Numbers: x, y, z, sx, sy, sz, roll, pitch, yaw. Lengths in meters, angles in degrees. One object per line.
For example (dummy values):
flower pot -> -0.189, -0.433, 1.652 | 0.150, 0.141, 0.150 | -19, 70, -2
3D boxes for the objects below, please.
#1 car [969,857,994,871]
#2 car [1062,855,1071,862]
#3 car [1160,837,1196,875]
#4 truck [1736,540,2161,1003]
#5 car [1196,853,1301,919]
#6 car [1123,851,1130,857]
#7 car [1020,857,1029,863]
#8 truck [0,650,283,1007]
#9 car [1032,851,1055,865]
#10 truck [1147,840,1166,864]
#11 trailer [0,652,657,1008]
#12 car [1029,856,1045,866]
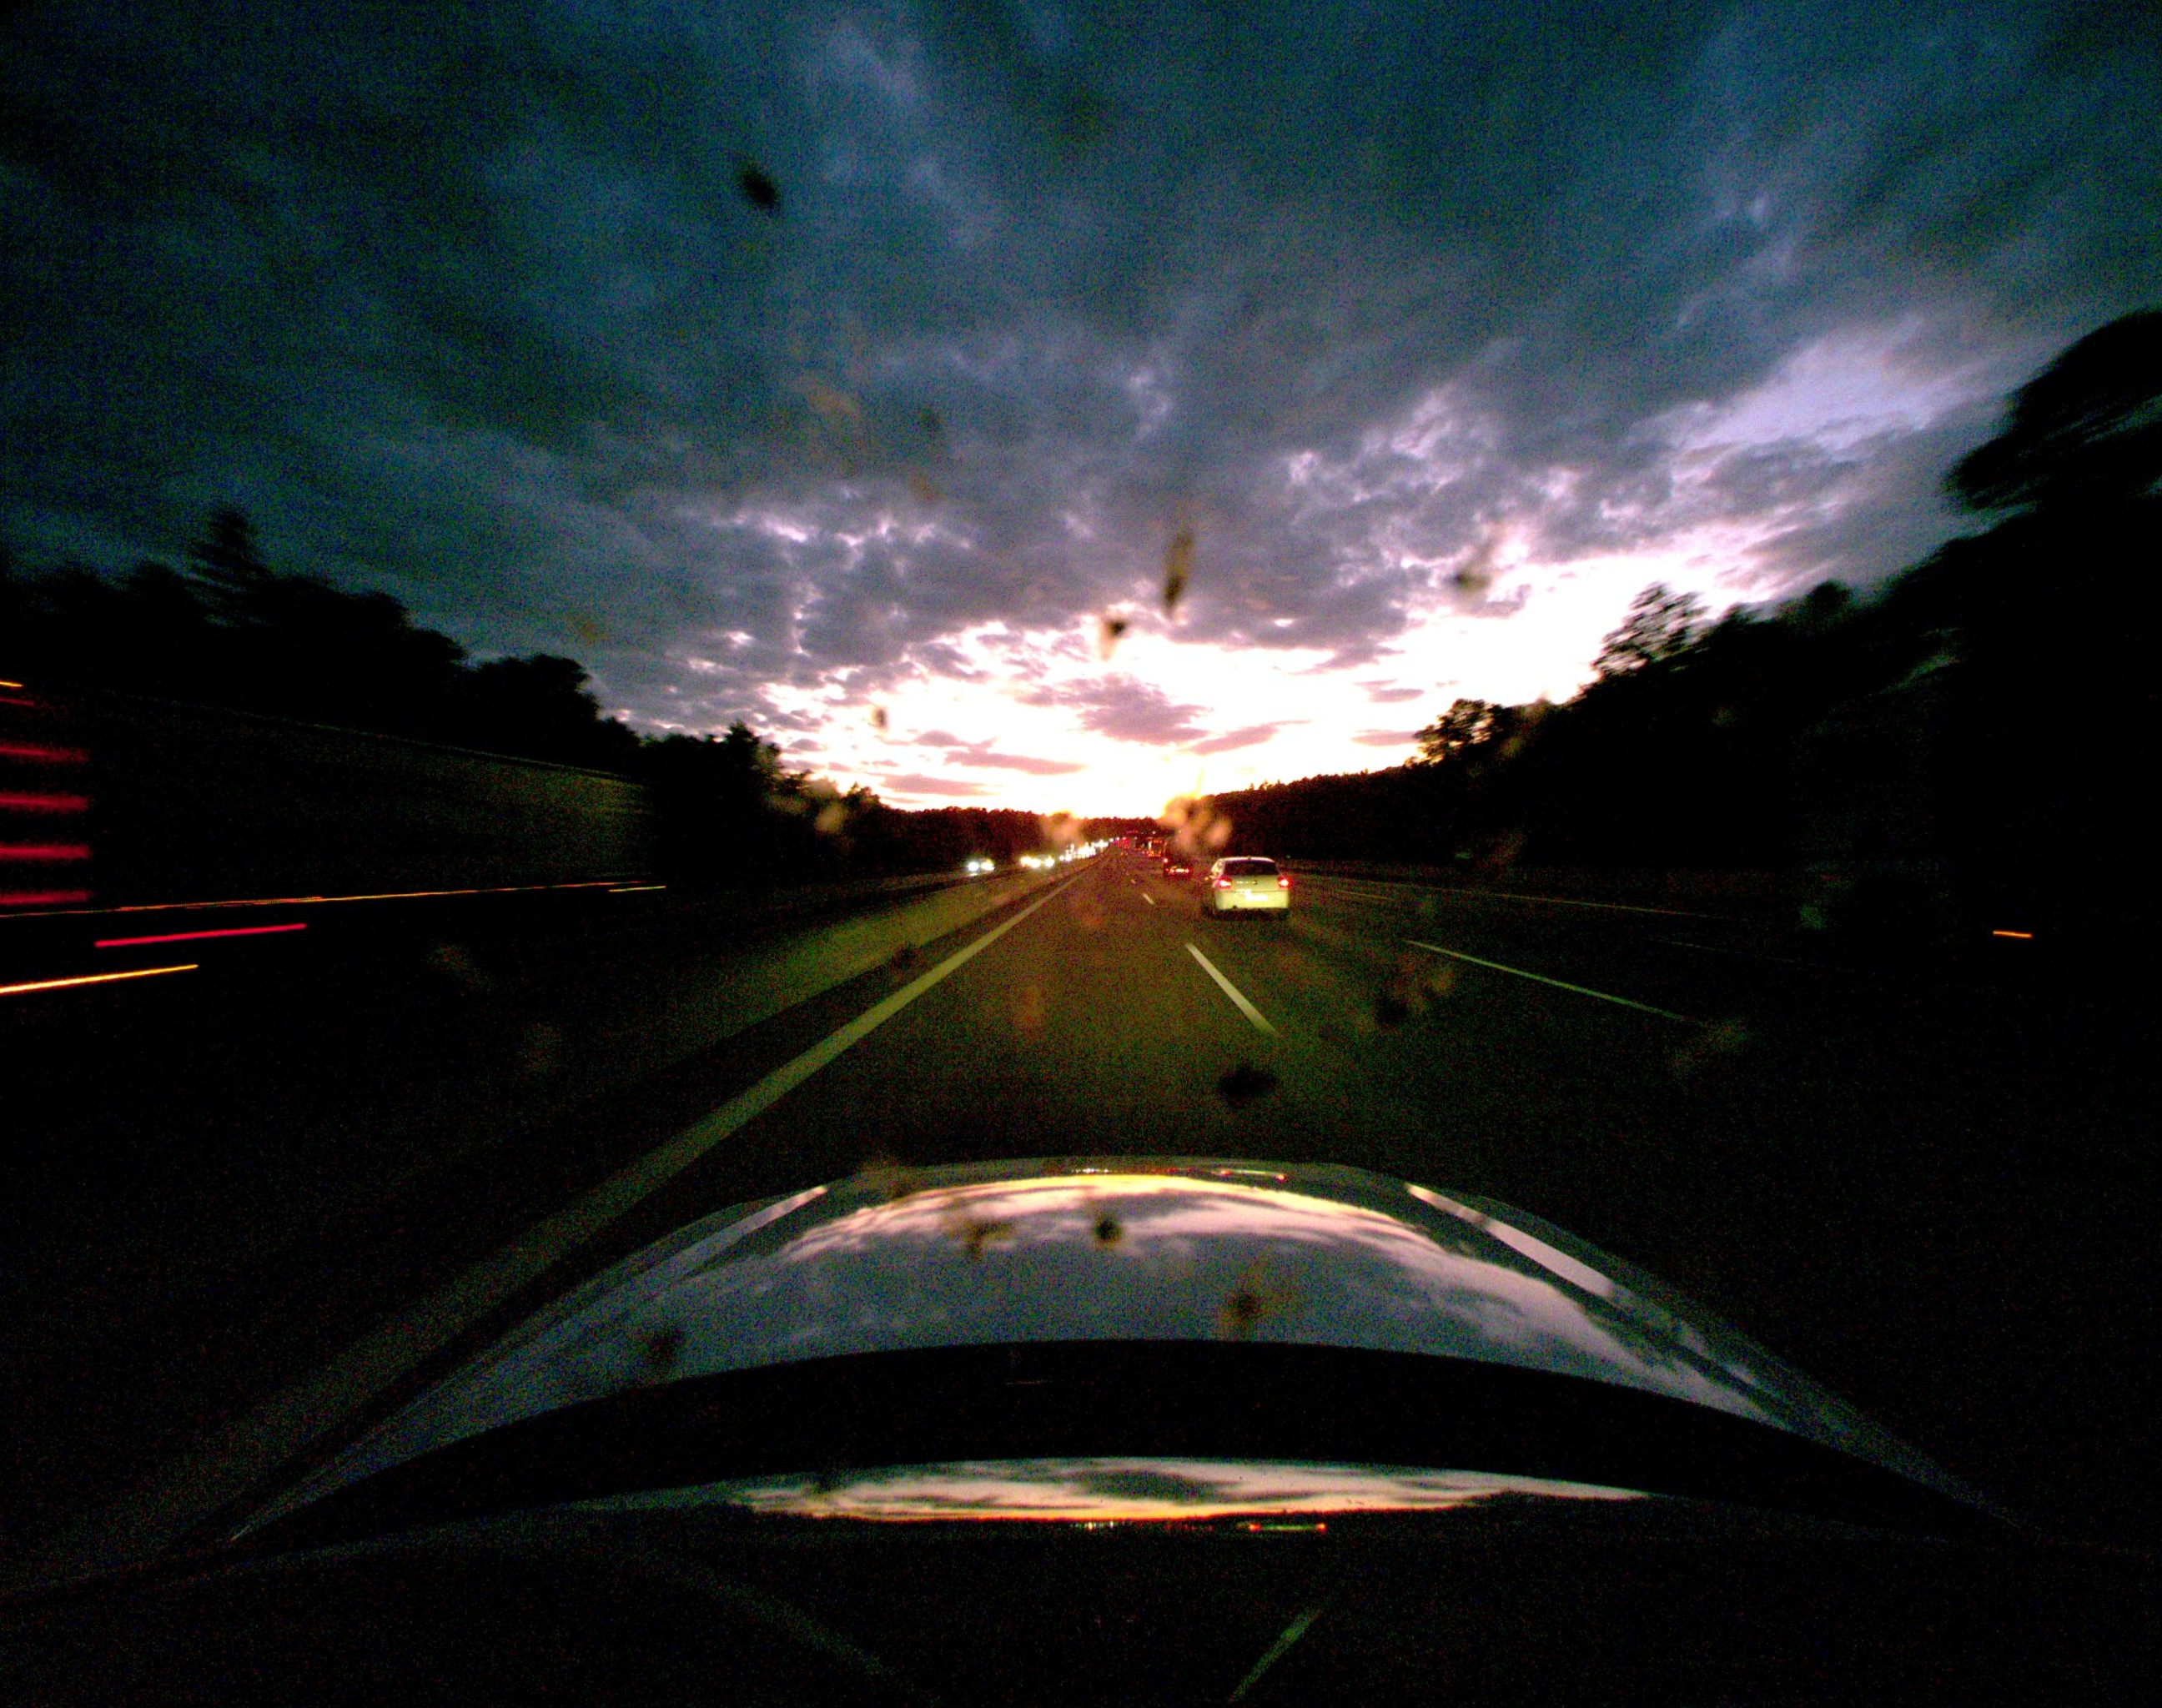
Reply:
car -> -10.871, 1.099, 89.499 | 1.904, 1.424, 4.750 | -1, 0, 3
car -> -3.198, 0.940, 180.162 | 1.829, 1.438, 4.003 | -2, 0, 2
car -> 6.699, 0.141, 56.700 | 2.156, 2.419, 5.571 | -2, 0, 4
truck -> 11.016, -0.754, 6.653 | 2.874, 4.100, 10.837 | -1, 0, 2
car -> 4.002, 0.707, 20.026 | 1.853, 1.442, 3.721 | -1, 0, 1
car -> 12.811, 0.043, 231.054 | 1.828, 1.570, 4.005 | -2, 0, 4
car -> -14.003, 1.531, 203.336 | 1.829, 1.438, 4.002 | -2, 0, 2
truck -> -13.835, -0.271, 9.417 | 2.640, 4.131, 6.525 | -1, 0, 1
car -> -4.039, 0.464, 88.476 | 1.985, 1.424, 5.148 | -1, 0, 2
truck -> 19.024, -0.573, 207.082 | 4.132, 5.856, 14.307 | -2, 0, 3
trailer -> -13.726, -0.258, 16.372 | 2.640, 4.131, 14.328 | -1, 0, 1
car -> -6.393, 0.964, 118.986 | 1.841, 1.414, 4.793 | -2, 0, 2
